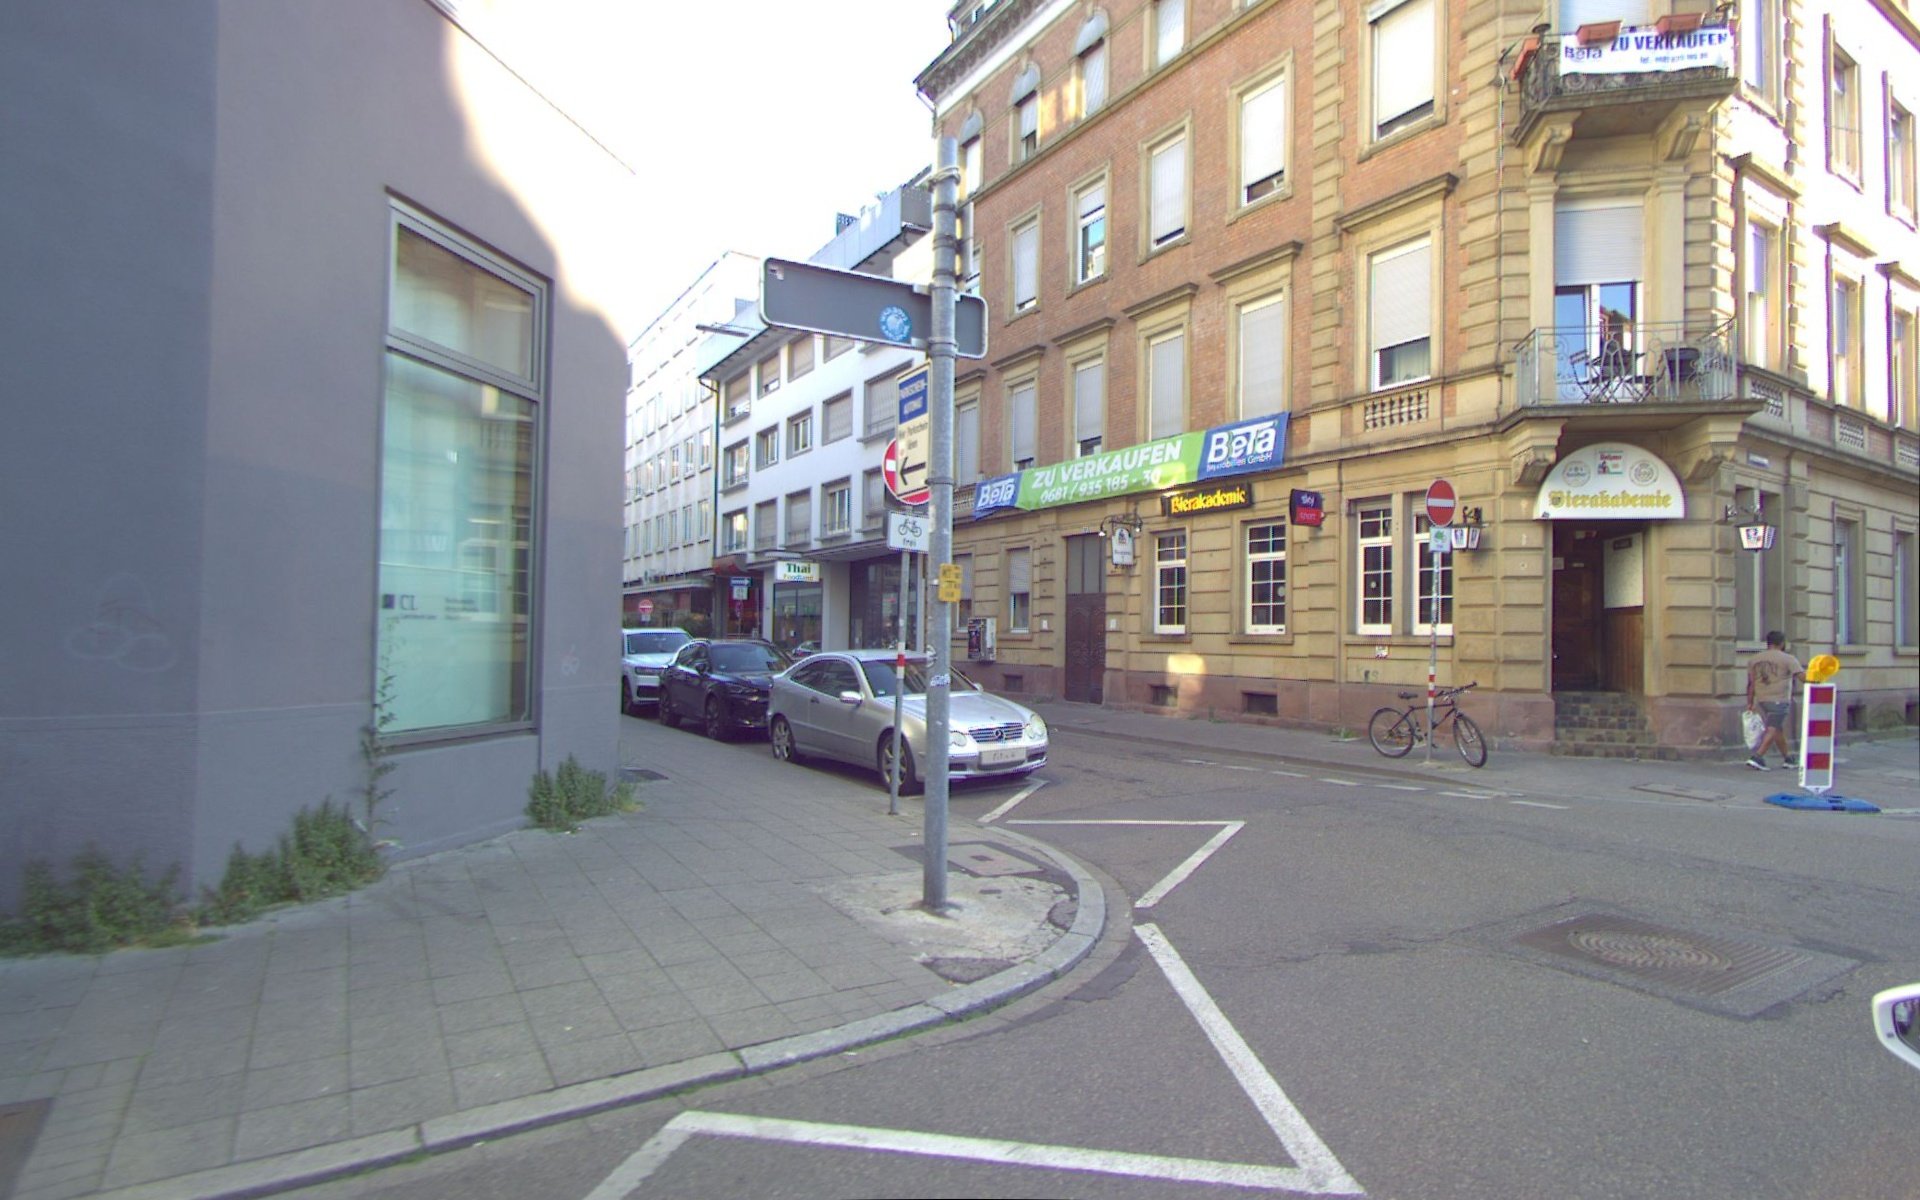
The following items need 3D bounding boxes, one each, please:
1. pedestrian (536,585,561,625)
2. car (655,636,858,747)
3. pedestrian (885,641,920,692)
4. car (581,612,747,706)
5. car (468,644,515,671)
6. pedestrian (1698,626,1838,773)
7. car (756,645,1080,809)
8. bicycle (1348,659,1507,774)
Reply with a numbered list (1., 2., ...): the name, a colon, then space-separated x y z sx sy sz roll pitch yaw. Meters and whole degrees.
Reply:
1. pedestrian: -27.844 0.355 67.968 1.235 2.648 1.454 2 -2 -32
2. car: -3.454 1.386 16.465 1.992 1.544 4.083 2 -2 -31
3. pedestrian: -1.579 1.814 27.575 0.824 1.357 0.804 2 -1 -12
4. car: -6.391 1.191 21.353 2.311 1.767 4.450 2 -2 -31
5. car: -20.292 2.480 43.449 1.498 1.073 3.438 2 -2 -31
6. pedestrian: 10.260 1.232 12.798 0.996 1.765 0.985 1 -1 3
7. car: -0.712 1.283 11.660 1.738 1.420 4.447 1 -2 -33
8. bicycle: 5.977 1.446 12.939 0.654 1.292 1.746 -2 0 -35
